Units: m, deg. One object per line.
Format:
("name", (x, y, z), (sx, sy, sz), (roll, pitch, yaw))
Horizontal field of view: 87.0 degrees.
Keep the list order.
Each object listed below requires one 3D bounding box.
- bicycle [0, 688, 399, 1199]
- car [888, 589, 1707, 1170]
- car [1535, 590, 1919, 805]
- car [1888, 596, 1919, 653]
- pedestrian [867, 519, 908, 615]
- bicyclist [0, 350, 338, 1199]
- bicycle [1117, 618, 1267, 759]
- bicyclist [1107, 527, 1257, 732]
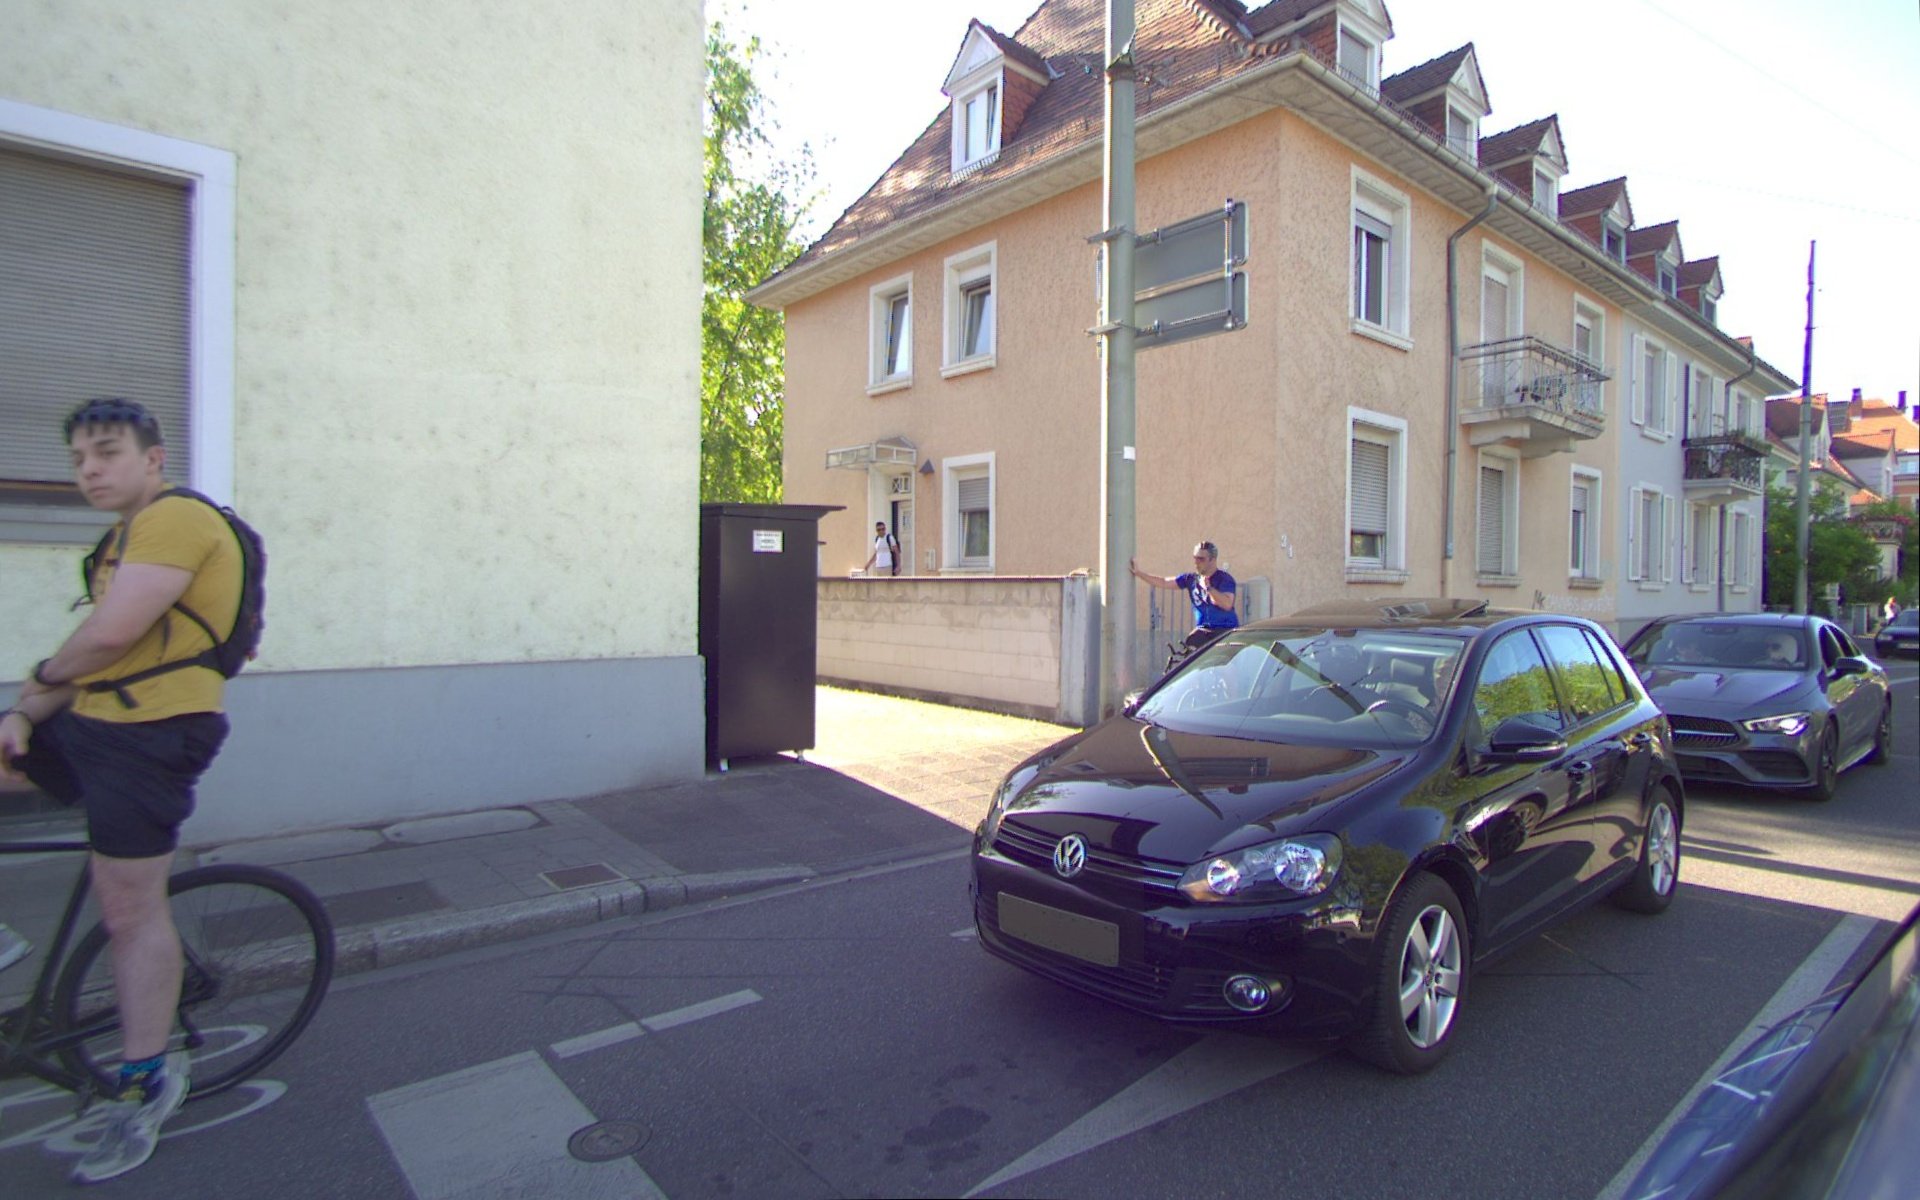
("bicycle", (-2.493, 0.869, 2.560), (0.777, 1.120, 1.720), (0, 0, 36))
("car", (1.758, 0.689, 4.505), (3.921, 1.456, 1.716), (-1, 0, -41))
("car", (6.961, 0.678, 8.983), (4.410, 1.449, 1.824), (1, 0, -40))
("car", (26.749, 0.631, 27.435), (4.258, 1.448, 1.824), (-1, 0, -40))
("pedestrian", (-1.299, -0.600, 18.038), (0.598, 1.624, 0.763), (3, 5, -8))
("bicyclist", (-2.291, 0.430, 2.761), (0.777, 1.991, 0.768), (0, 0, 36))
("bicycle", (2.120, 0.744, 9.127), (0.554, 1.088, 1.601), (6, 4, 42))
("bicyclist", (2.016, 0.225, 9.220), (1.018, 1.714, 0.718), (6, 4, 42))
